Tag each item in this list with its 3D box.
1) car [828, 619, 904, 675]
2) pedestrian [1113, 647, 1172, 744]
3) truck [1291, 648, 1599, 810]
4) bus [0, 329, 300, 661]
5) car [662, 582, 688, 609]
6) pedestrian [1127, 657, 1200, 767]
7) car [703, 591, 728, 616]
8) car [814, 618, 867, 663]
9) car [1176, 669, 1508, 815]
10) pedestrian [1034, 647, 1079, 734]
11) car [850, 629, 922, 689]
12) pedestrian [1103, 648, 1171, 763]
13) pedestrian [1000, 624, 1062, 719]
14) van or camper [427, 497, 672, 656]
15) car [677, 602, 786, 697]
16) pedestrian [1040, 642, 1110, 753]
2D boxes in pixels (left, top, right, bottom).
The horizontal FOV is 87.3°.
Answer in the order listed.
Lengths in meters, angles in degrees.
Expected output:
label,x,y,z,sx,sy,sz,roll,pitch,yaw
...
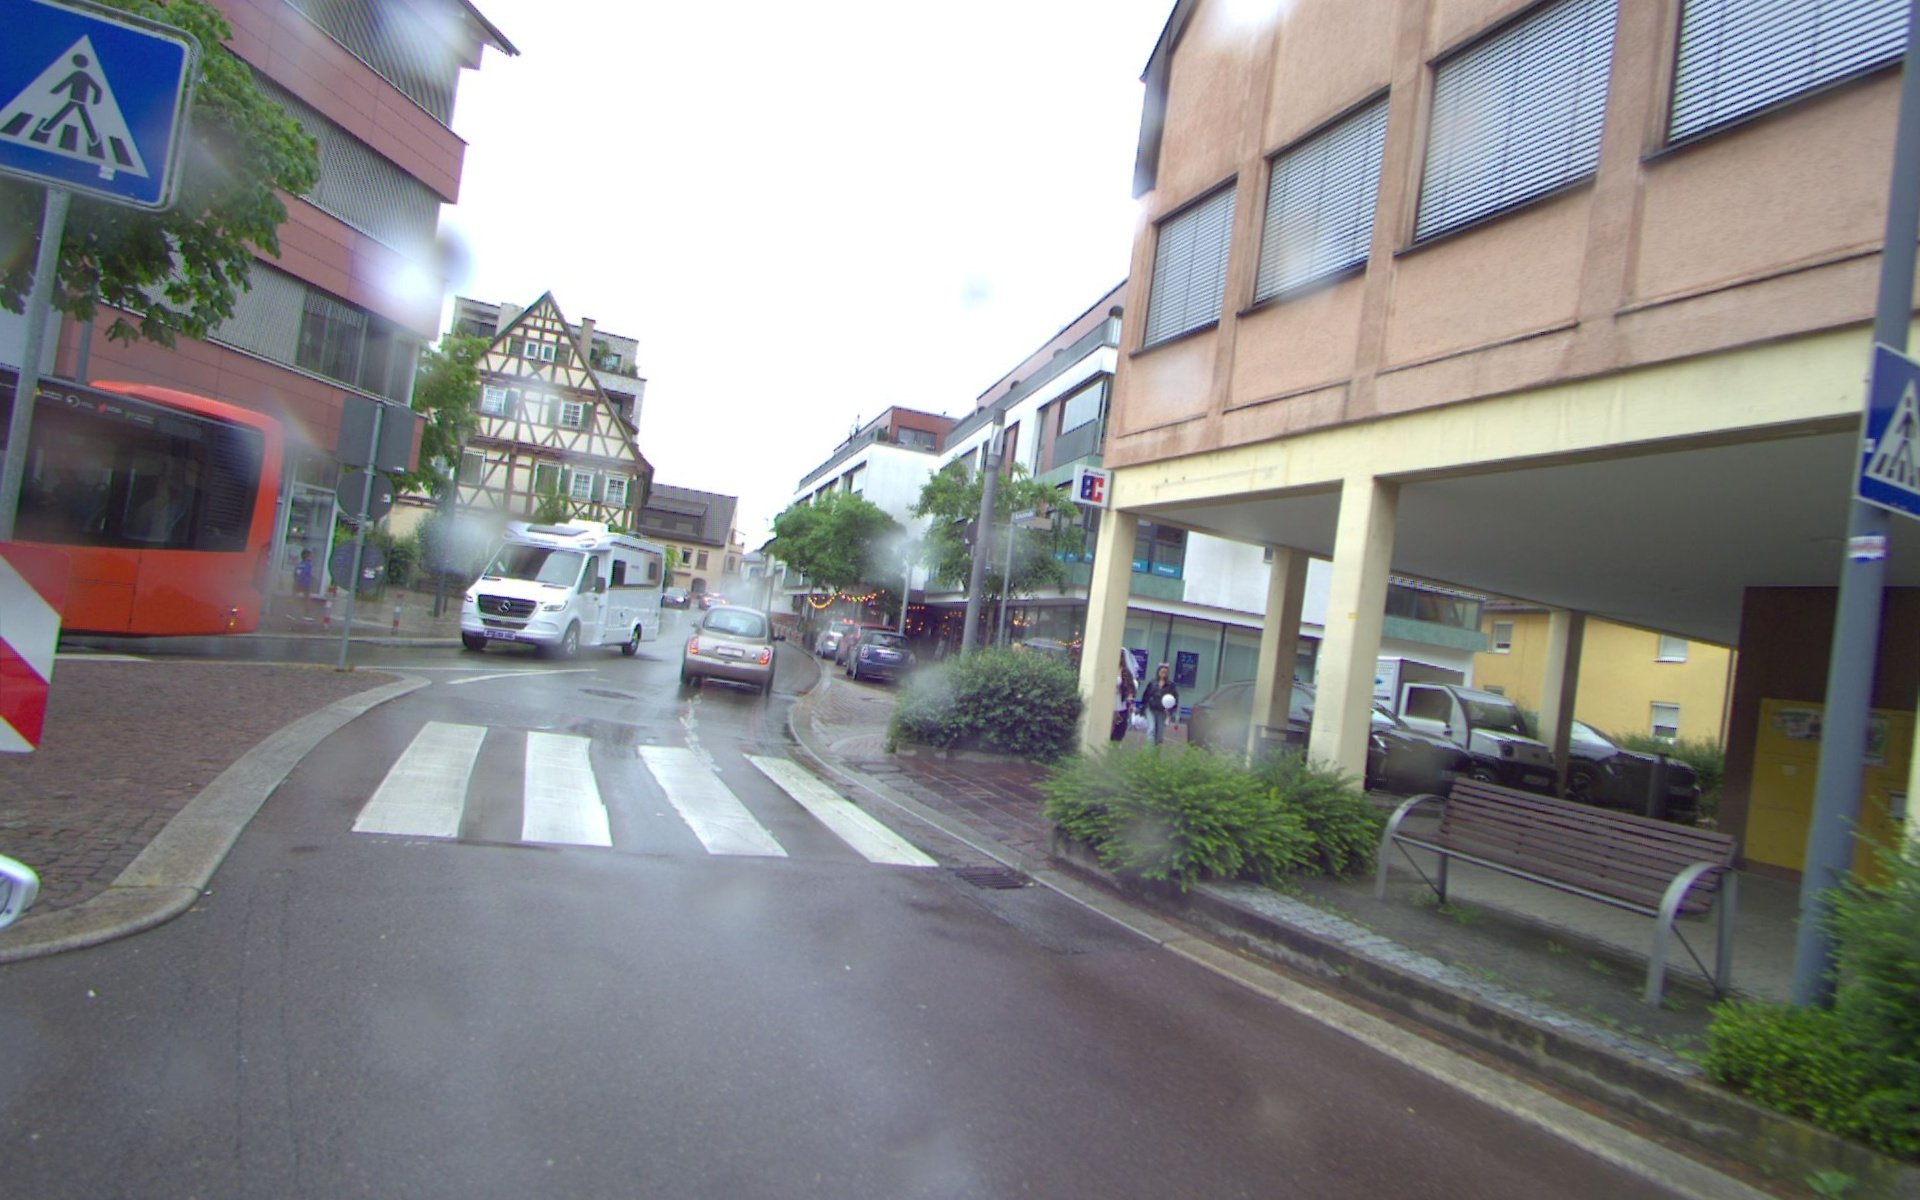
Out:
label,x,y,z,sx,sy,sz,roll,pitch,yaw
car,-3.187,1.519,33.545,1.604,1.519,3.986,6,-1,-17
pedestrian,3.450,1.800,19.067,0.627,1.709,0.739,8,-1,-21
truck,7.269,1.874,15.532,1.745,1.828,3.981,8,-2,-22
bus,-11.626,-1.430,8.084,2.770,3.123,10.614,6,-3,23
car,-20.926,-0.333,73.876,1.568,1.732,3.311,8,-2,-17
pedestrian,3.368,1.836,16.718,0.949,1.657,0.735,7,-1,8
car,-19.614,0.287,80.533,1.654,1.732,3.313,8,-2,-15
car,-4.652,1.528,38.828,1.594,1.431,3.992,5,-1,-12
car,5.132,1.885,14.265,1.745,1.290,4.451,8,-2,-22
pedestrian,1.956,1.837,20.443,0.534,1.682,0.518,8,-1,-20
car,-2.134,1.611,28.452,1.516,1.377,3.369,8,-2,-10
pedestrian,2.828,1.669,16.150,0.712,1.709,0.733,7,-1,-4
pedestrian,1.420,1.433,20.247,0.726,1.769,0.888,8,-1,-22
van or camper,-8.478,-0.309,21.812,2.401,2.615,6.754,8,-2,-2
car,-4.299,0.900,19.333,1.501,1.488,3.339,8,-2,-7
pedestrian,1.866,1.571,16.377,0.688,1.680,0.819,8,-1,-15
